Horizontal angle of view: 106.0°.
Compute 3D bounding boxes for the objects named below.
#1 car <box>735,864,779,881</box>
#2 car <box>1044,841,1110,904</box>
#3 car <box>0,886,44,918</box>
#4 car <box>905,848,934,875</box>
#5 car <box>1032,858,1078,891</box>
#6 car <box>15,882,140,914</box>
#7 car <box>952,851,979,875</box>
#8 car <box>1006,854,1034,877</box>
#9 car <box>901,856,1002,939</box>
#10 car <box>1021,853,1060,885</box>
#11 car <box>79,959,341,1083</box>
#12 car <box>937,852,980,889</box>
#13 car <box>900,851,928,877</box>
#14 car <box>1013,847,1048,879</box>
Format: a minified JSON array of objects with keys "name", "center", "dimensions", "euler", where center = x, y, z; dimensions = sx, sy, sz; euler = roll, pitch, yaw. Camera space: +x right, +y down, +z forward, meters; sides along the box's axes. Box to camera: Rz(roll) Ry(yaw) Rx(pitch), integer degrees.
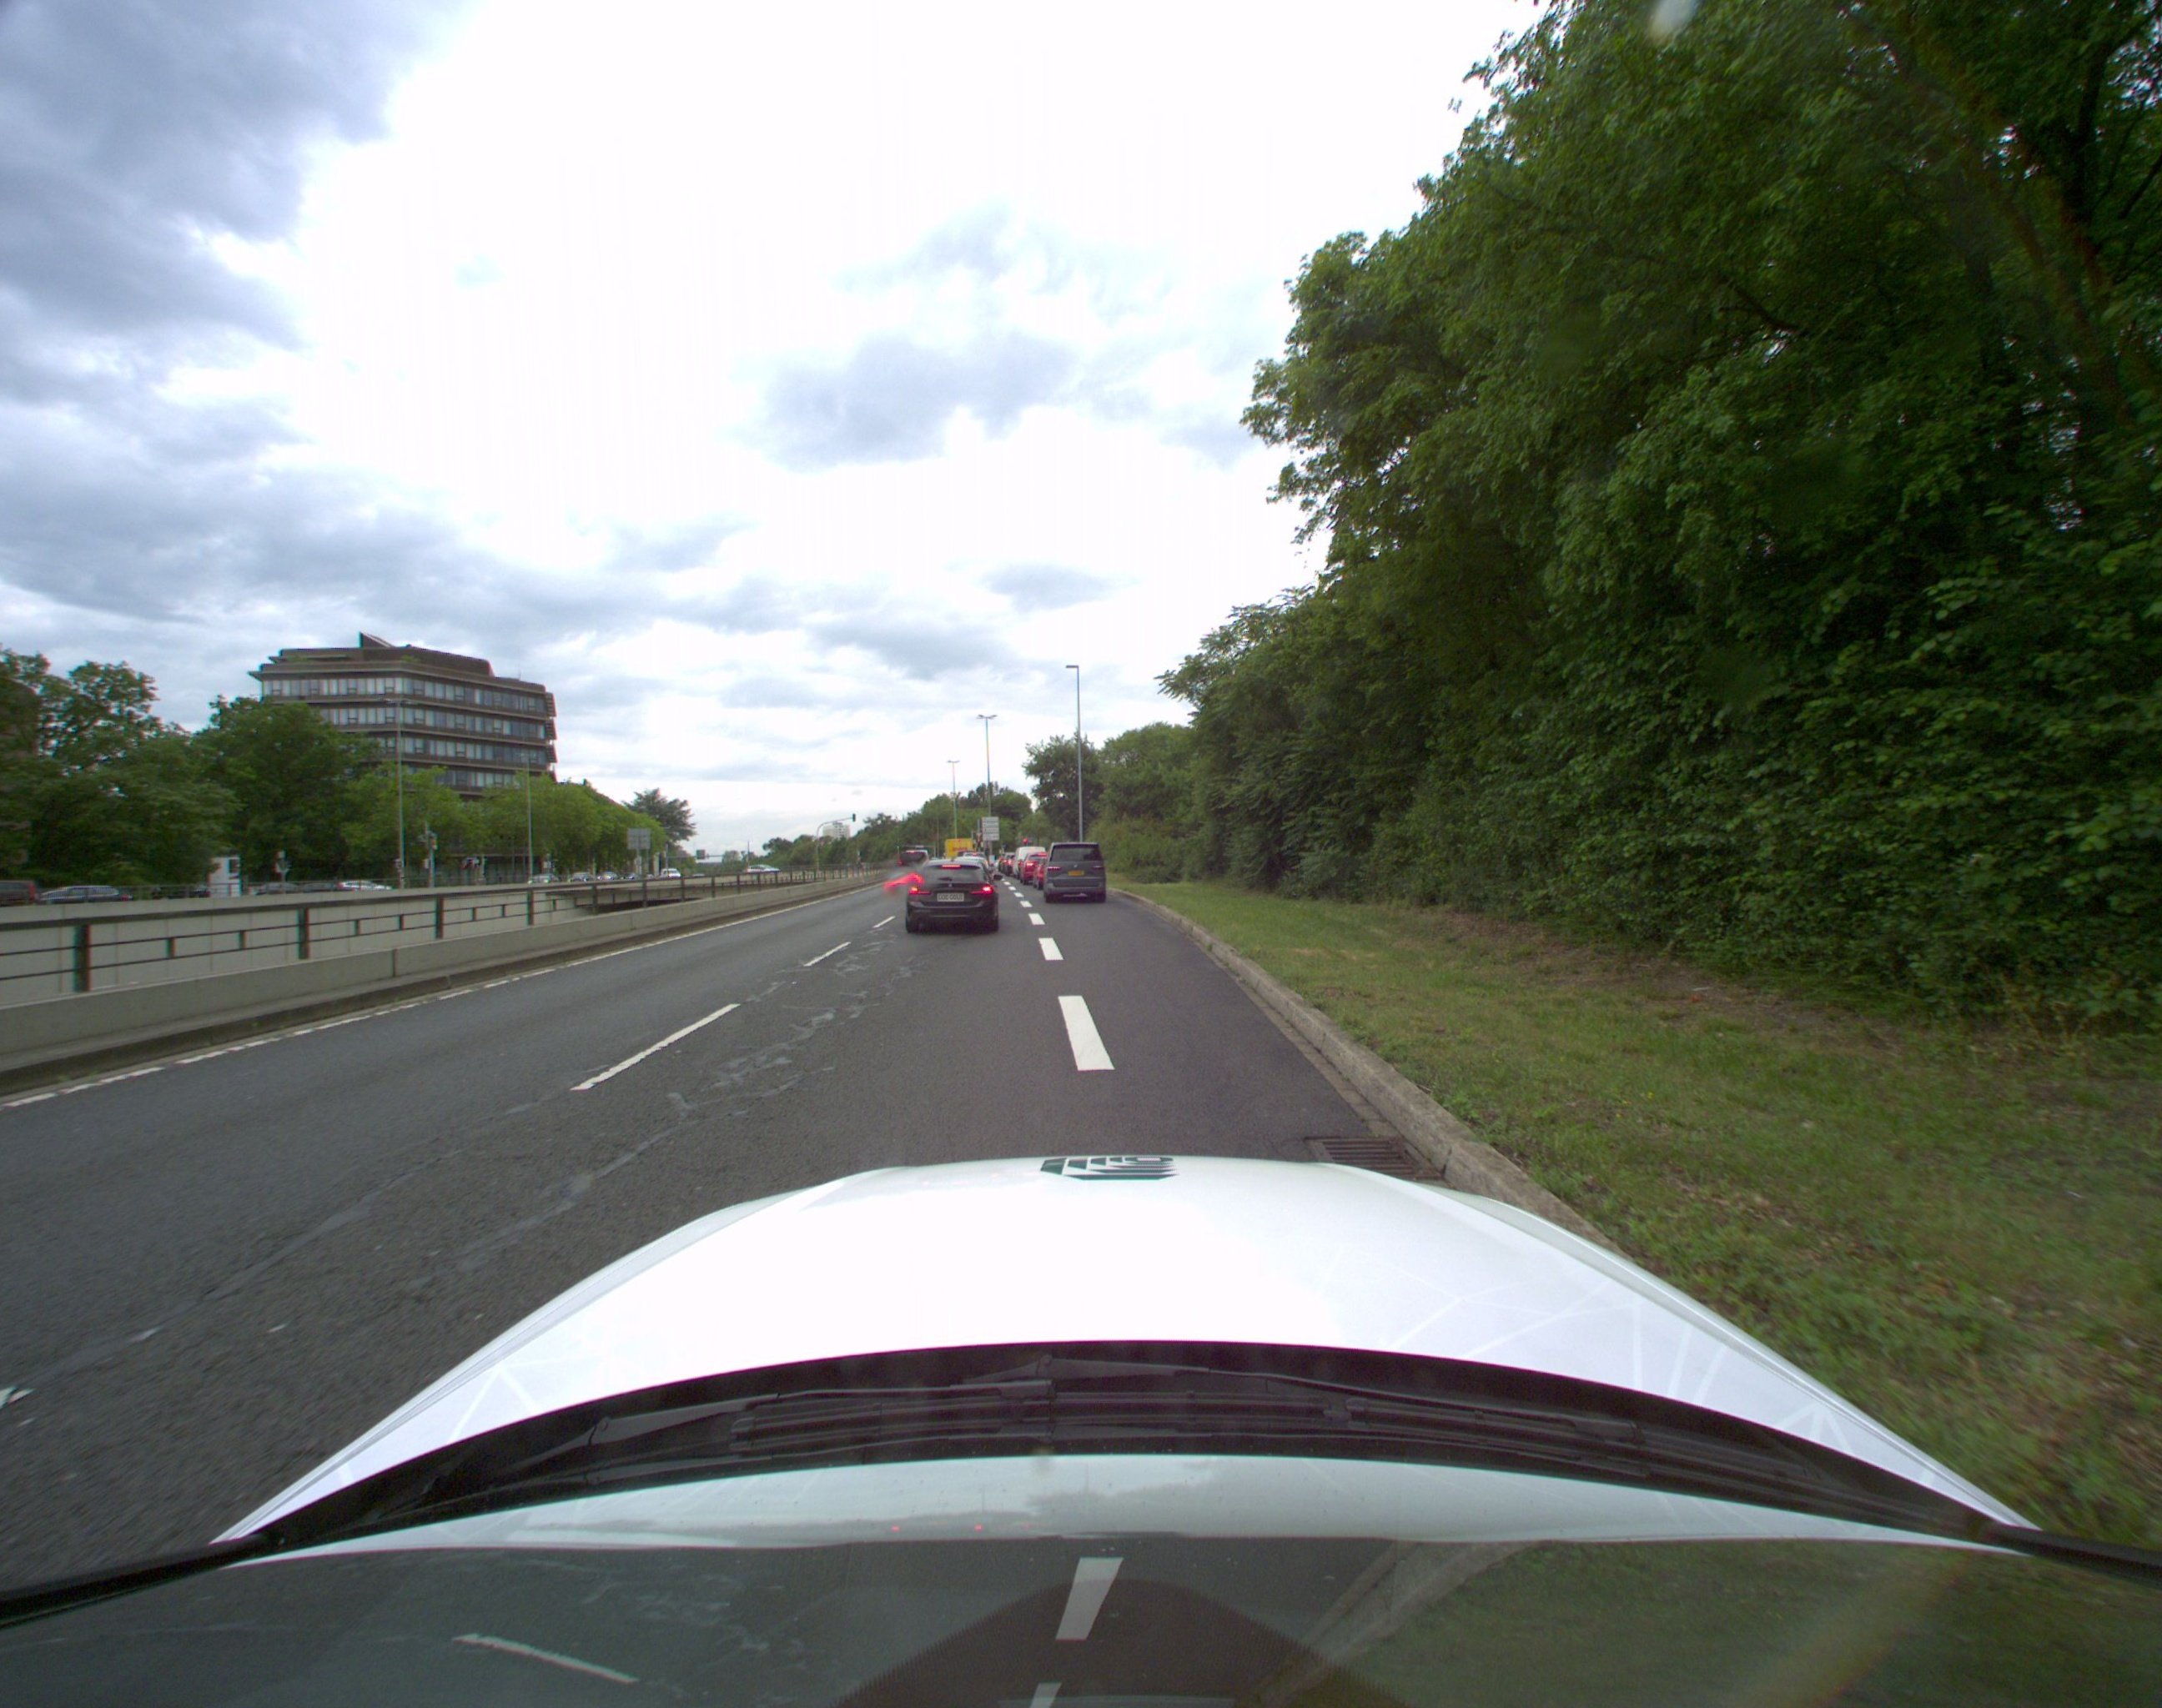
[{"name":"car","center":[-39.493,2.246,99.260],"dimensions":[4.756,2.013,2.009],"euler":[-1,0,18]},{"name":"car","center":[-0.233,0.566,26.864],"dimensions":[1.895,1.884,4.409],"euler":[-1,-1,-4]},{"name":"car","center":[-51.488,2.281,37.863],"dimensions":[1.608,1.441,4.025],"euler":[-1,-1,37]},{"name":"car","center":[-12.434,0.557,62.980],"dimensions":[1.883,1.987,4.418],"euler":[-1,-1,-7]},{"name":"car","center":[-1.224,0.871,36.277],"dimensions":[1.881,1.356,3.994],"euler":[-1,-1,-4]},{"name":"car","center":[-51.980,2.228,42.254],"dimensions":[1.608,1.441,4.025],"euler":[-1,-1,37]},{"name":"car","center":[-8.463,0.634,60.127],"dimensions":[1.883,1.700,4.418],"euler":[-1,-1,-7]},{"name":"car","center":[-4.228,0.789,56.487],"dimensions":[1.881,1.545,3.994],"euler":[-1,-1,-4]},{"name":"car","center":[-2.617,0.805,17.343],"dimensions":[1.746,1.426,4.454],"euler":[-2,1,-5]},{"name":"car","center":[-2.092,0.740,41.540],"dimensions":[1.881,1.545,3.994],"euler":[-1,-1,-4]},{"name":"car","center":[-32.177,5.988,30.673],"dimensions":[2.507,3.028,7.492],"euler":[-1,0,-8]},{"name":"car","center":[-5.738,0.759,38.473],"dimensions":[1.883,1.592,4.418],"euler":[-1,-1,-7]},{"name":"car","center":[-11.232,0.670,54.999],"dimensions":[1.623,1.701,4.283],"euler":[0,-1,-9]},{"name":"car","center":[-3.146,0.543,49.939],"dimensions":[1.883,1.880,4.418],"euler":[-1,-1,-7]}]
